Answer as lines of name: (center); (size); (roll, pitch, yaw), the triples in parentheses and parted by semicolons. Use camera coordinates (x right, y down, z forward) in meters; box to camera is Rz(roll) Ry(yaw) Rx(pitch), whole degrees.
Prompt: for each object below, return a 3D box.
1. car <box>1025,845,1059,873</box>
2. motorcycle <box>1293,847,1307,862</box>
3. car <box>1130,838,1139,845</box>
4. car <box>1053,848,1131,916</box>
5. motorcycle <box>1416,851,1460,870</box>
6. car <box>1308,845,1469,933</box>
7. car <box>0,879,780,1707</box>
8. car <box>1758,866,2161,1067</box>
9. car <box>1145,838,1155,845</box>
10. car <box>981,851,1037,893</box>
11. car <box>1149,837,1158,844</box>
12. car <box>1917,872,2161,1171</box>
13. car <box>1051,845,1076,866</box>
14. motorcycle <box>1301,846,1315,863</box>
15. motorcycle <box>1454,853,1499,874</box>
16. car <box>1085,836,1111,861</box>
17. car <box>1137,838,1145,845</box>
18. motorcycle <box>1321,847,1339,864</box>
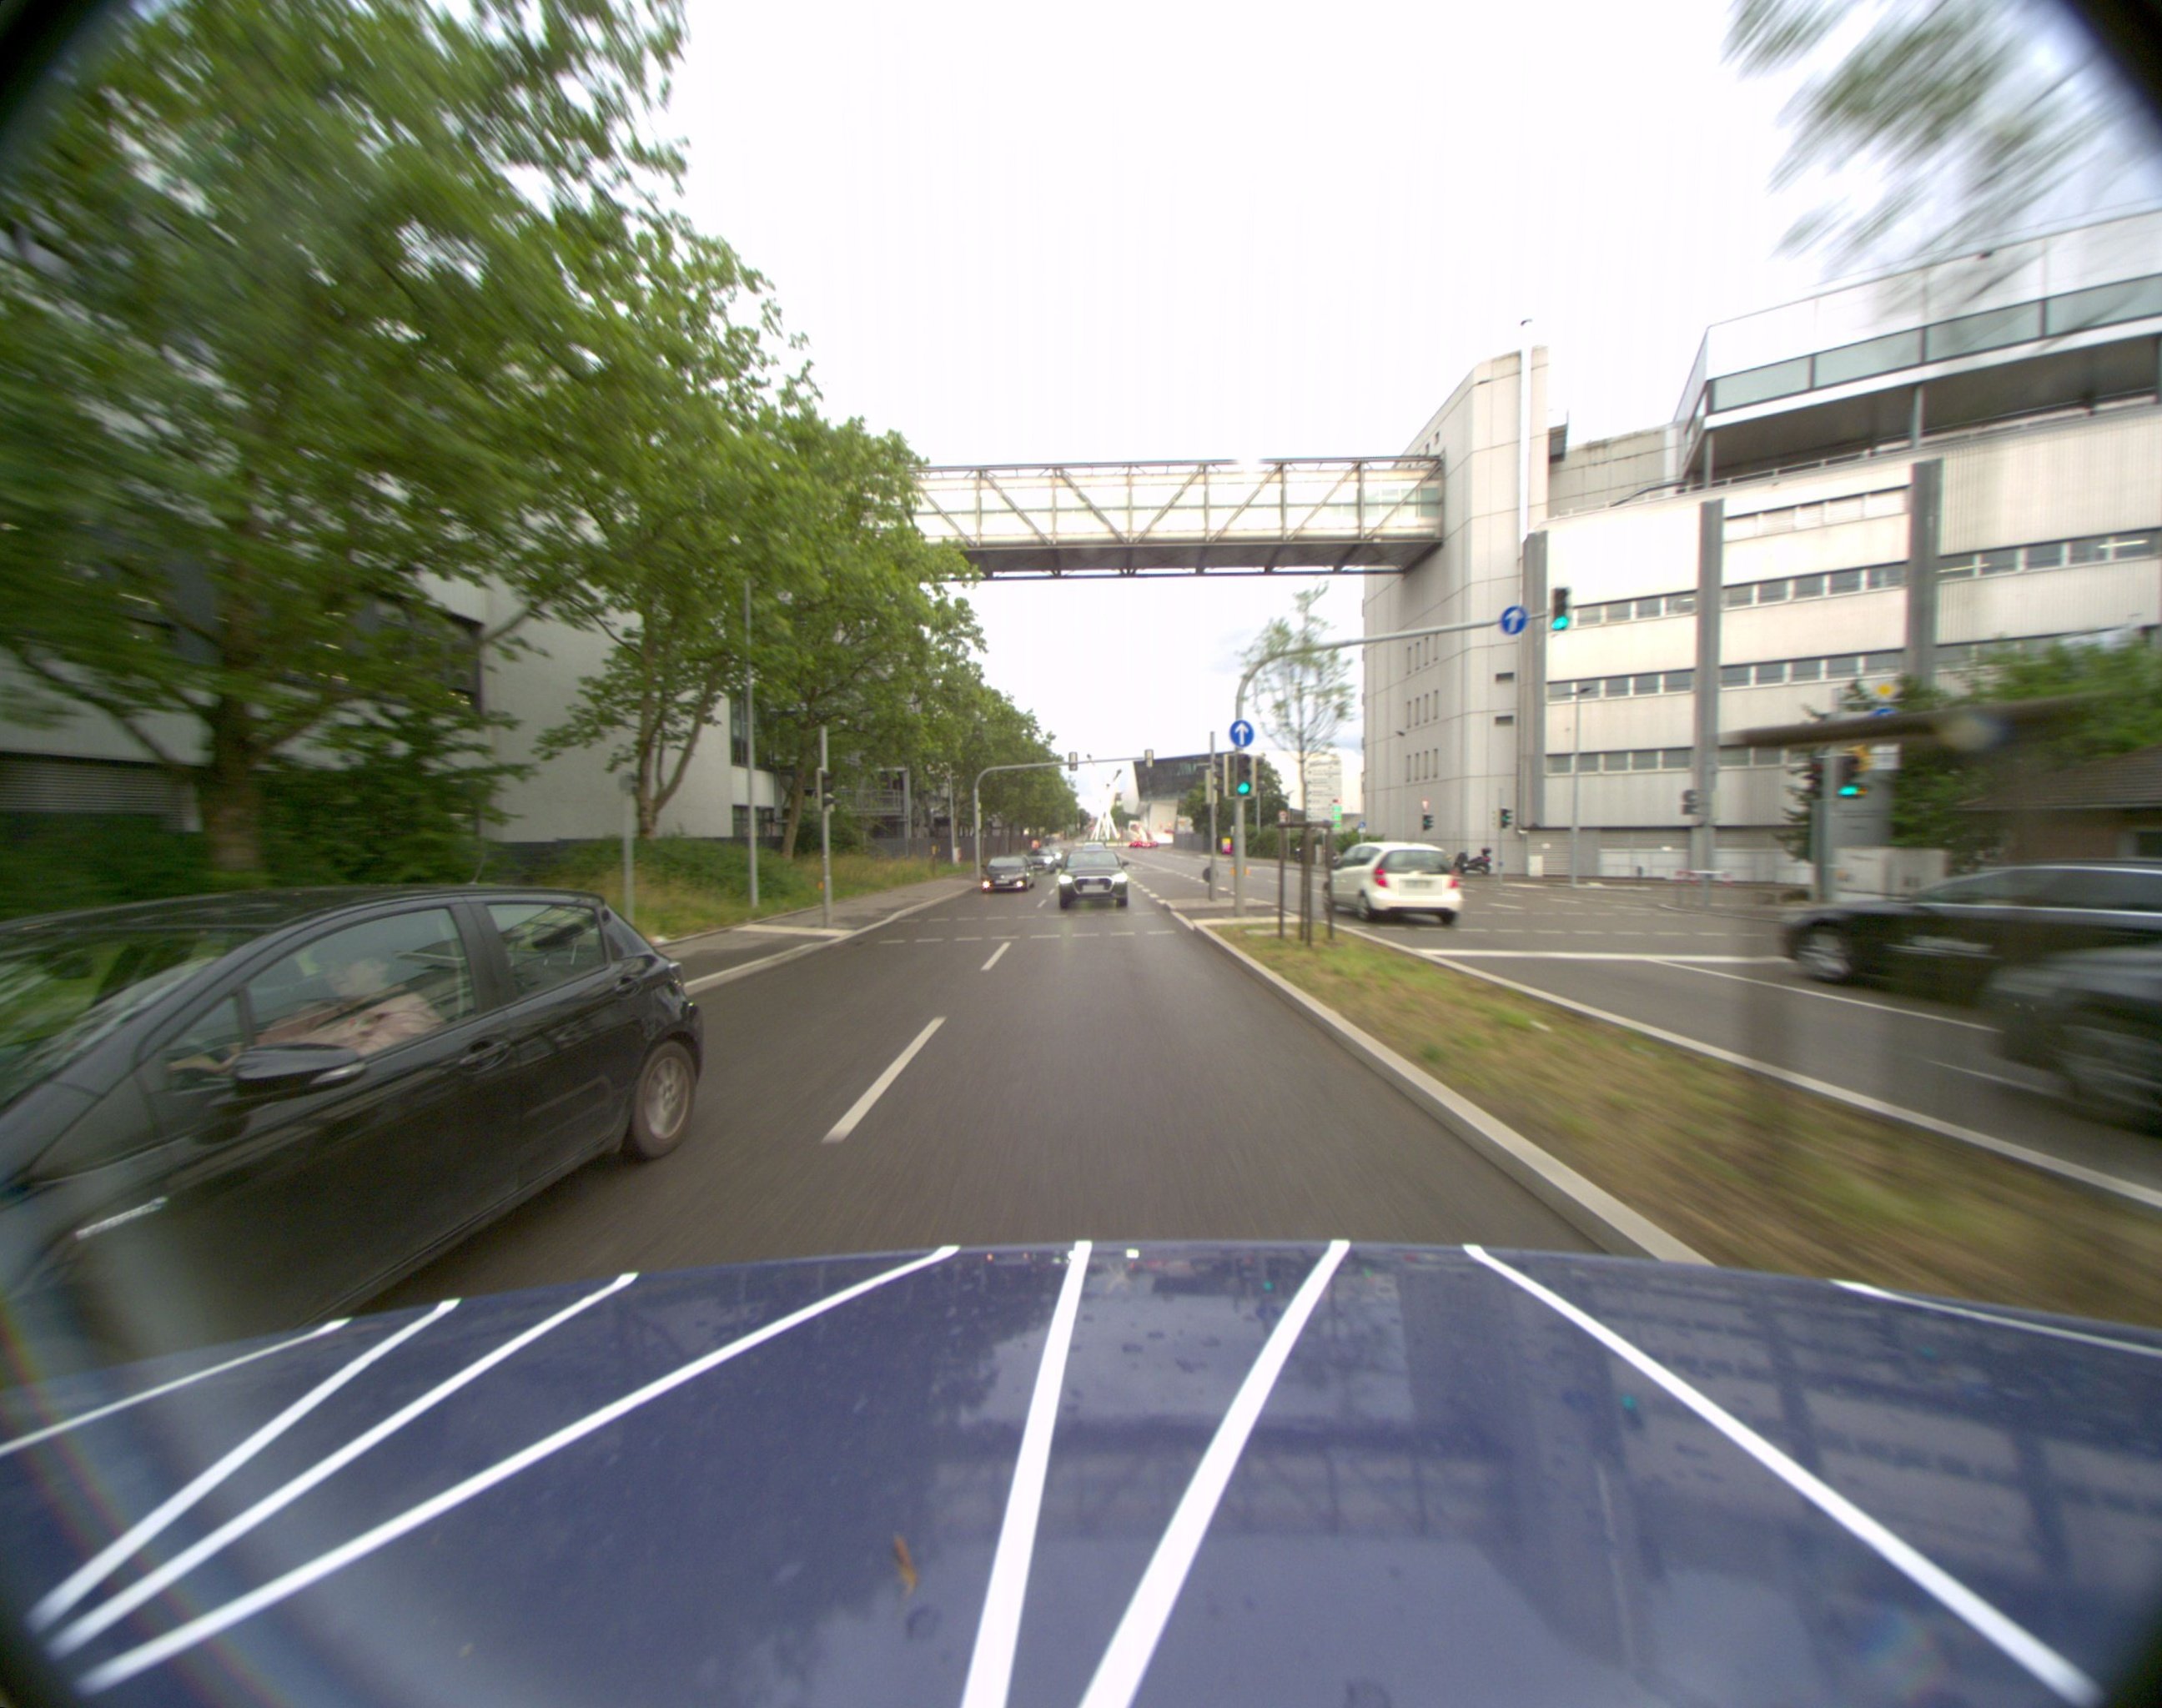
car: (-2.351, 0.269, 46.820); (1.825, 1.581, 4.331); (-1, 1, 1)
motorcycle: (17.806, 0.010, 61.848); (0.626, 1.208, 1.967); (0, 1, 2)
car: (12.182, -2.775, 173.350); (1.776, 1.580, 4.485); (0, 1, 2)
car: (0.293, 0.642, 20.851); (1.820, 1.536, 5.607); (-1, 1, 1)
motorcycle: (20.047, 0.353, 42.706); (0.628, 1.021, 2.165); (-1, 2, -34)
car: (6.368, 0.620, 16.331); (1.776, 1.580, 4.485); (0, 1, 2)
car: (-3.015, 0.971, 2.967); (1.749, 1.461, 4.639); (-1, 1, 1)
car: (8.982, 0.880, 6.790); (1.777, 1.396, 4.614); (0, 1, 1)
car: (15.538, -2.828, 171.641); (2.036, 1.580, 4.485); (0, 1, 2)
car: (-2.791, 0.660, 30.291); (1.749, 1.422, 4.516); (-1, 1, 1)
car: (17.018, -3.113, 178.426); (1.776, 1.580, 4.485); (0, 1, 2)
car: (5.985, 0.848, 2.669); (1.581, 1.396, 4.111); (0, 1, 1)
car: (-1.398, 0.116, 61.259); (1.820, 1.571, 4.331); (-1, 1, 1)
motorcycle: (17.662, 0.011, 59.138); (0.626, 1.260, 2.171); (-1, 1, 6)
motorcycle: (21.227, 0.497, 40.823); (0.627, 1.021, 2.165); (0, 2, -26)
car: (1.398, -0.484, 63.193); (2.035, 1.920, 4.331); (-1, 1, 0)
car: (14.125, -2.965, 179.784); (1.776, 1.580, 4.485); (0, 1, 2)
motorcycle: (17.654, 0.116, 53.827); (0.569, 1.156, 2.038); (0, 1, -1)
